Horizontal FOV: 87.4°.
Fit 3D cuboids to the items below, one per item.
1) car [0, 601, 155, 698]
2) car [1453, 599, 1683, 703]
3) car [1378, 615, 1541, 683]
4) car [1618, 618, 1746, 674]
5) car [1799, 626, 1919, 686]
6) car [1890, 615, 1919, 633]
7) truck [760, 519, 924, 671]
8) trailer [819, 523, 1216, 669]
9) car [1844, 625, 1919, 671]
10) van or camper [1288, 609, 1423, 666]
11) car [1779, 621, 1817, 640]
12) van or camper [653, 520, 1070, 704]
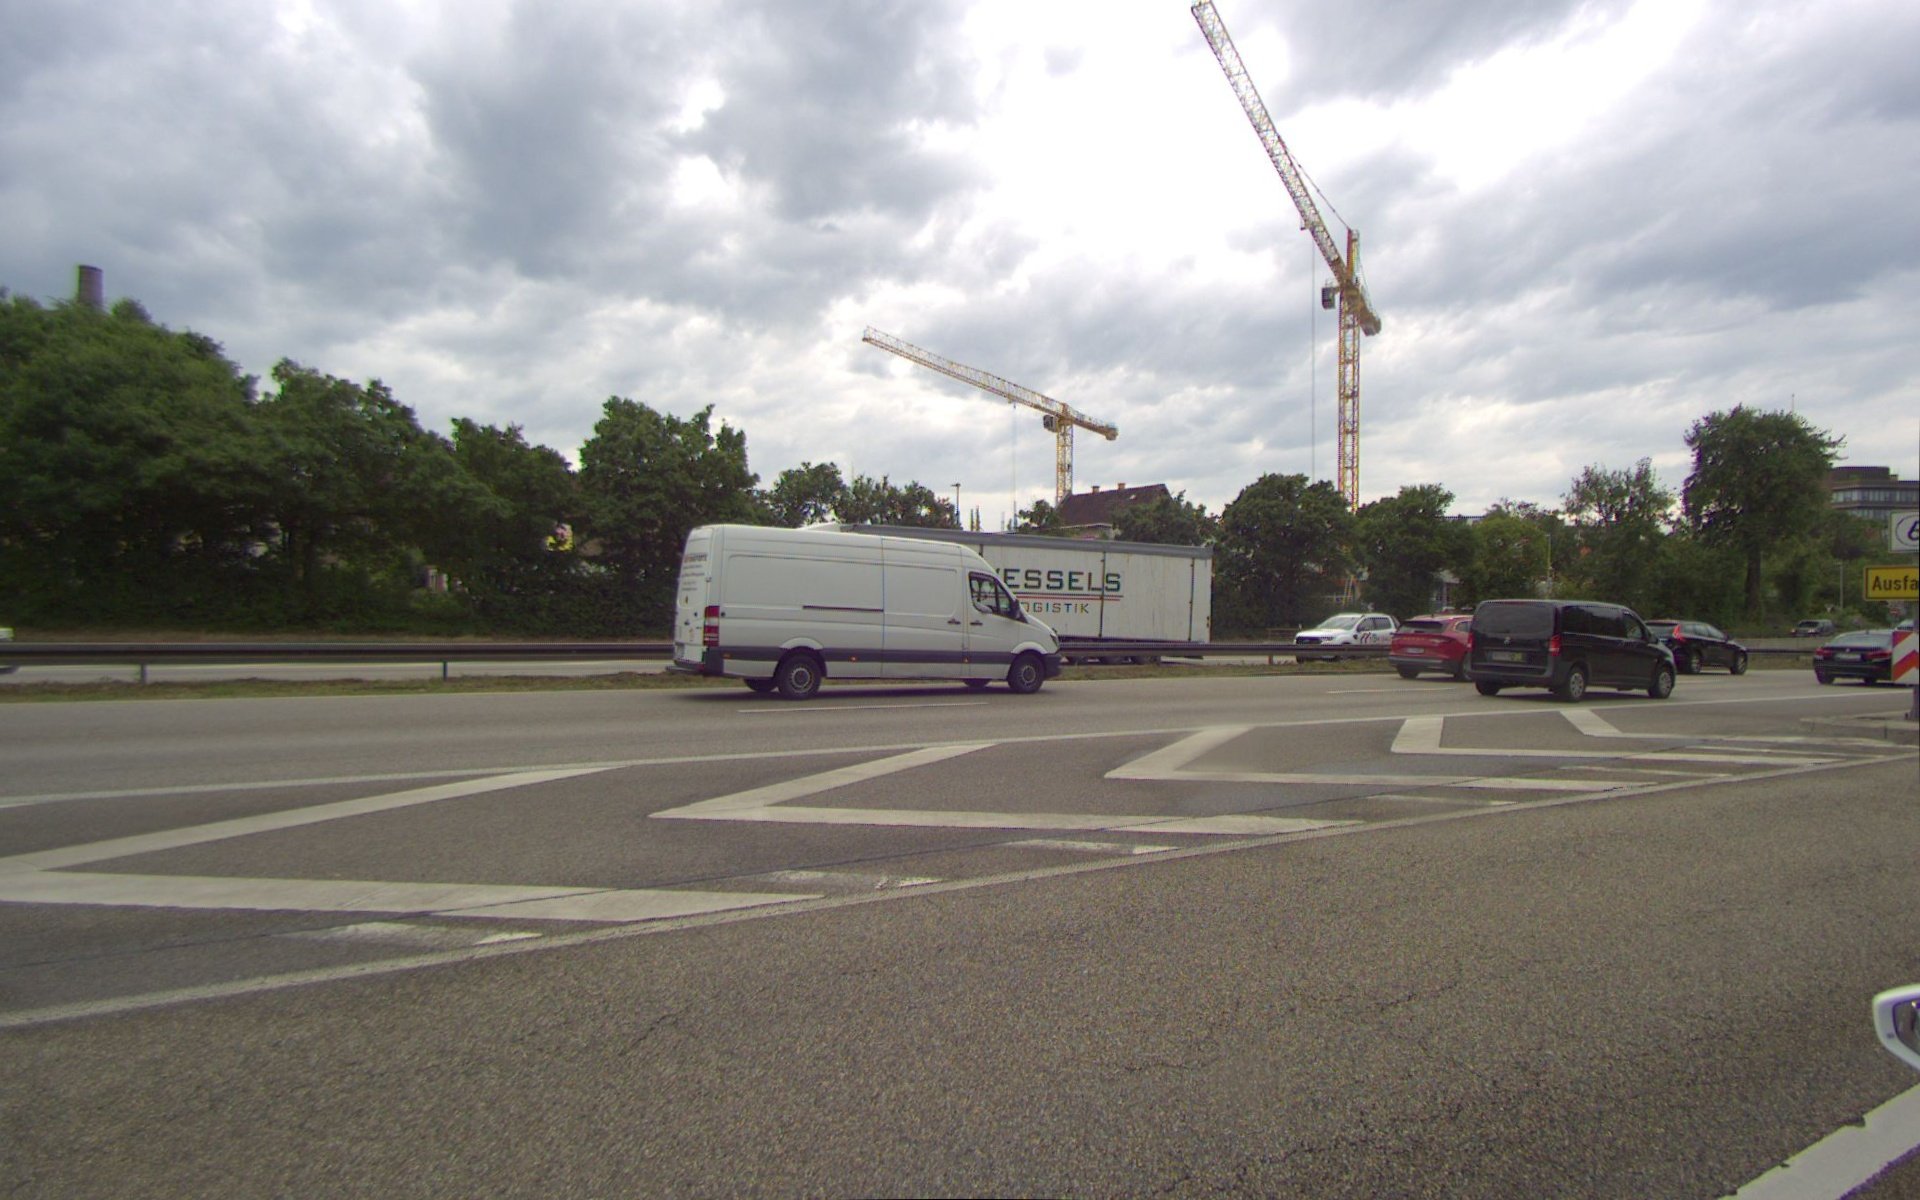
[{"bbox_3d":[-16.136,0.779,16.395,4.416,1.528,1.982,1,-1,-32],"label":"car"},{"bbox_3d":[12.246,0.970,20.148,4.757,1.876,1.983,1,0,-31],"label":"car"},{"bbox_3d":[12.546,1.194,25.190,3.896,1.588,1.759,1,-1,-29],"label":"car"},{"bbox_3d":[23.160,1.466,32.210,4.216,1.657,1.744,1,0,-30],"label":"car"},{"bbox_3d":[25.147,1.496,27.589,4.610,1.476,1.705,1,0,-29],"label":"car"},{"bbox_3d":[89.056,2.275,94.477,3.206,1.607,1.430,1,-1,-30],"label":"car"},{"bbox_3d":[-3.413,-0.084,28.927,3.953,4.043,2.584,1,-1,-30],"label":"truck"},{"bbox_3d":[2.317,0.047,32.327,13.622,4.035,2.581,1,-1,-31],"label":"trailer"},{"bbox_3d":[36.795,1.853,39.497,4.257,1.704,1.881,1,-1,-31],"label":"car"},{"bbox_3d":[13.566,1.274,34.337,4.849,1.817,1.691,1,-1,-31],"label":"van or camper"},{"bbox_3d":[69.735,2.532,83.568,3.206,1.595,1.430,1,-1,-30],"label":"car"},{"bbox_3d":[-1.492,0.257,17.136,6.875,2.656,2.039,1,-1,-31],"label":"van or camper"}]
